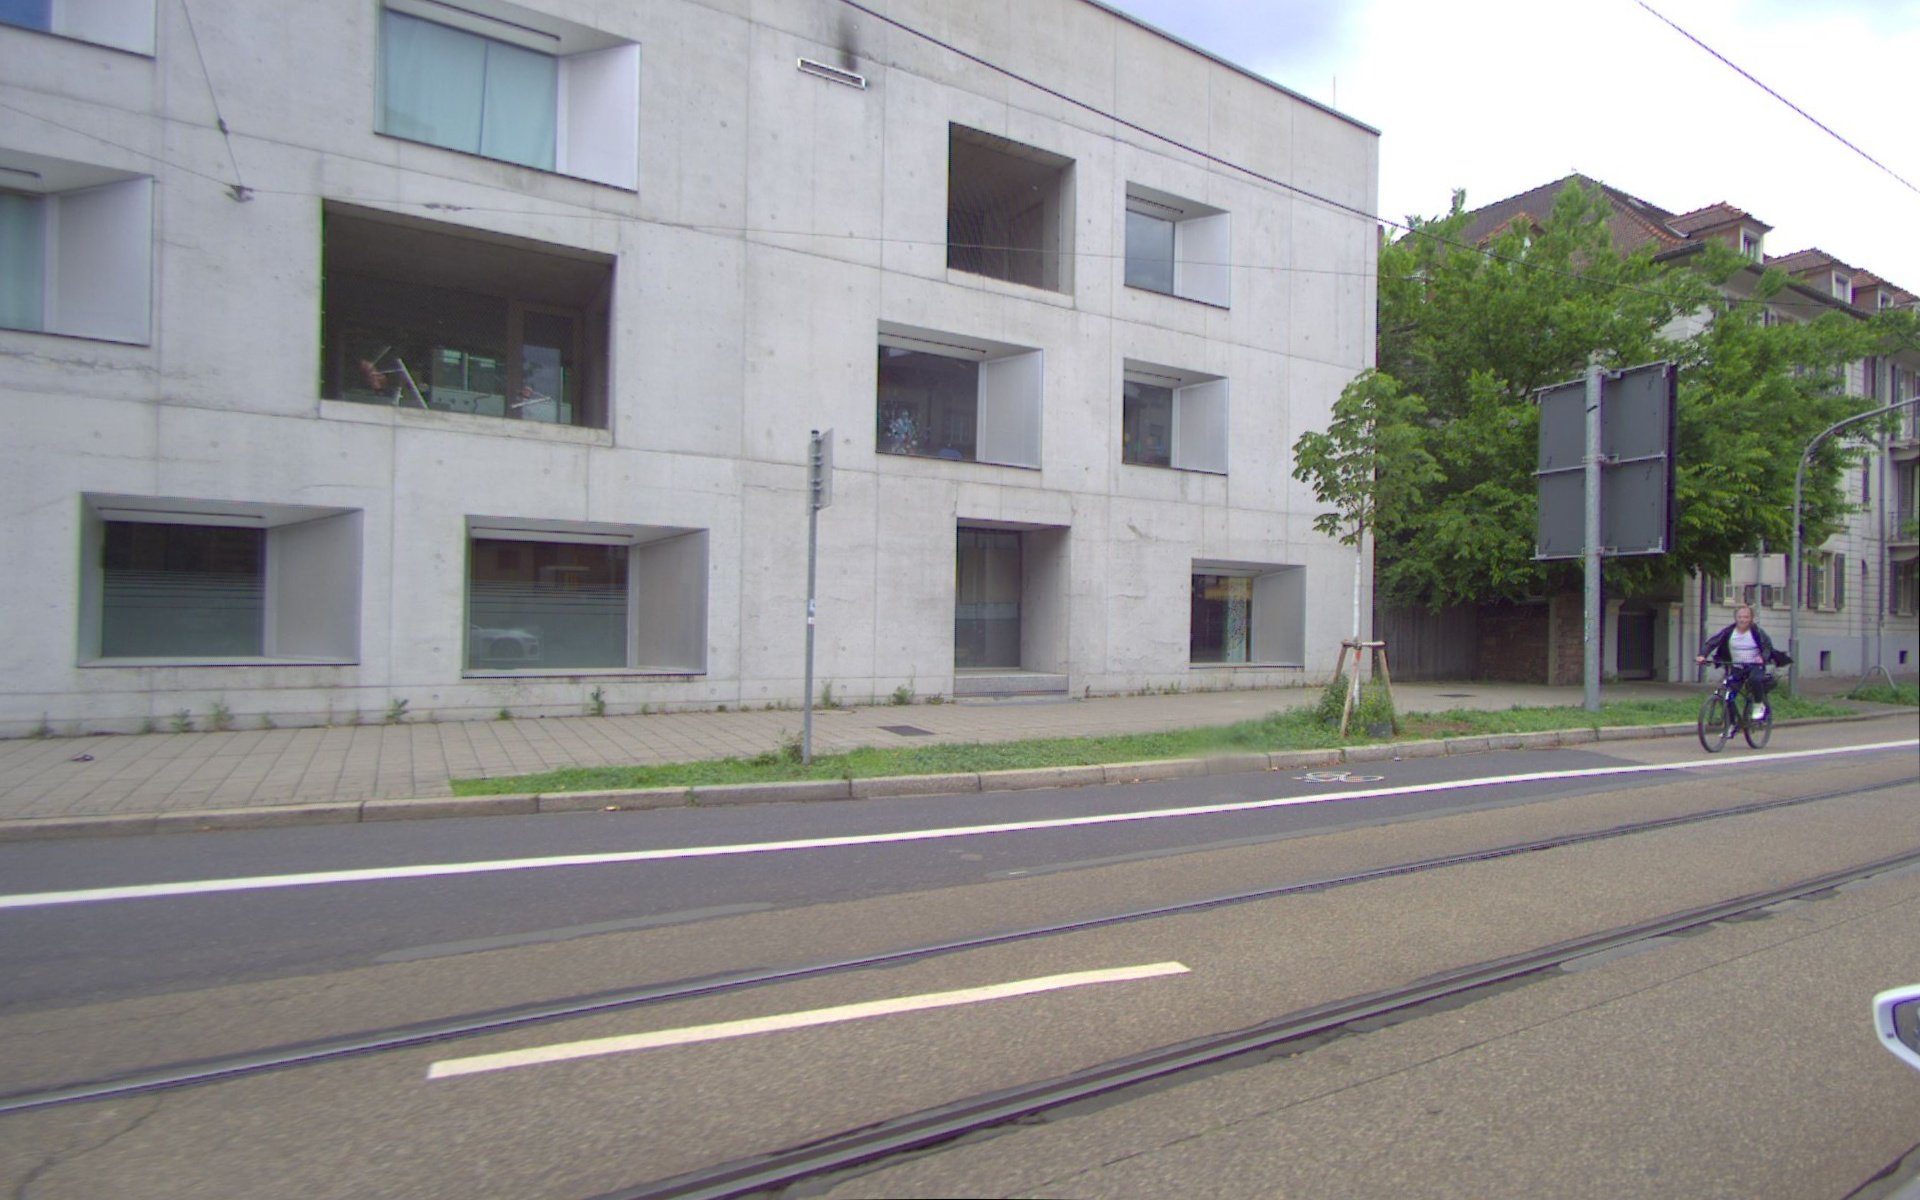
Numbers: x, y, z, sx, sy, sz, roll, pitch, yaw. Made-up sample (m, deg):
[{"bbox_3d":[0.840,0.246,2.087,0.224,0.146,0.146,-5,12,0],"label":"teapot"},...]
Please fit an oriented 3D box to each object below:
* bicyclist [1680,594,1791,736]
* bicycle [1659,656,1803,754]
[{"bbox_3d":[10.360,0.844,13.422,1.134,1.807,0.788,1,-2,-30],"label":"bicyclist"},{"bbox_3d":[10.248,1.359,13.333,1.987,1.201,0.788,2,-4,-30],"label":"bicycle"}]
